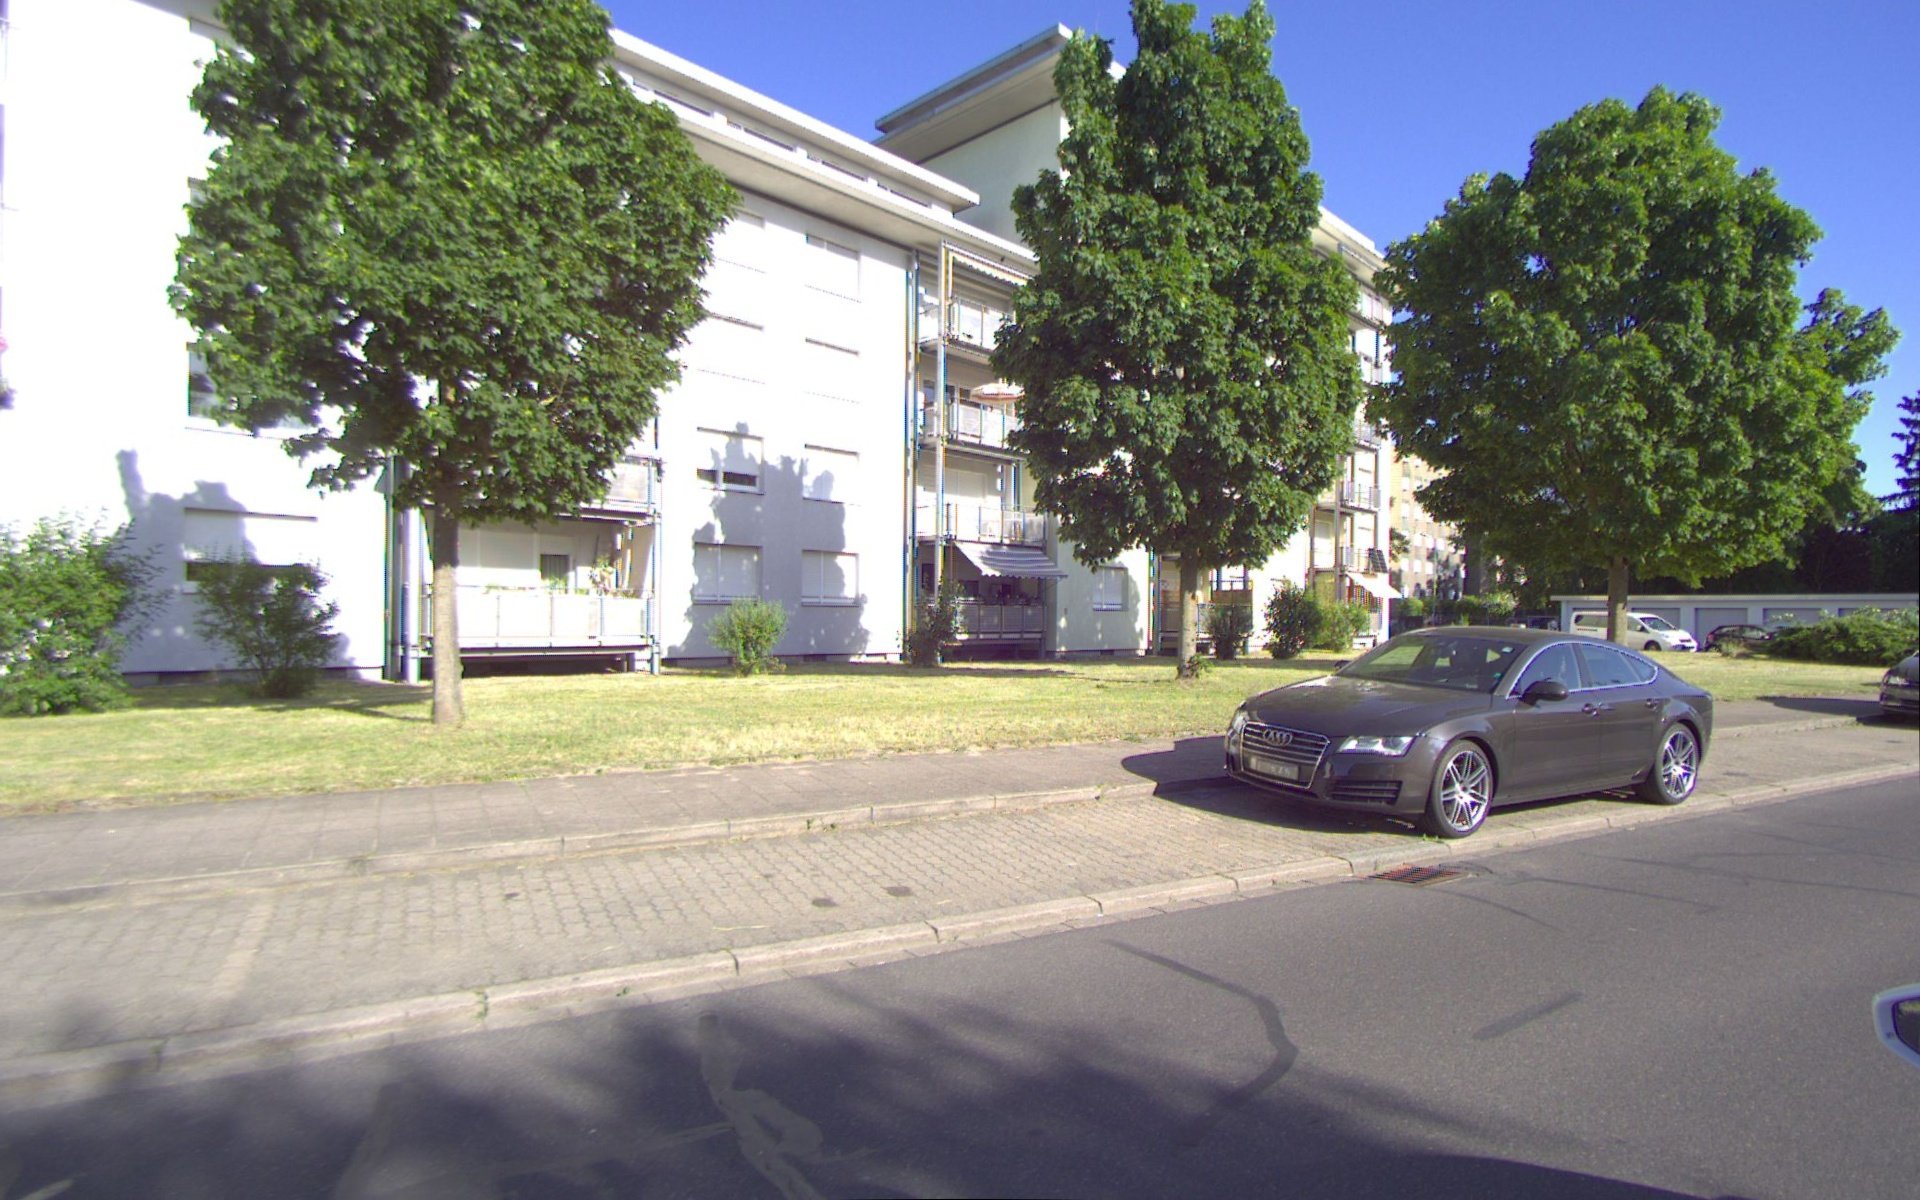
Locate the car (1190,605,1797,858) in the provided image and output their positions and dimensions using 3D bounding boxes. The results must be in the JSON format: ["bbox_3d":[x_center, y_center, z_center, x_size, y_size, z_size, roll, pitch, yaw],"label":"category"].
[{"bbox_3d":[4.600,0.850,8.447,5.193,1.513,2.025,1,2,-30],"label":"car"}]

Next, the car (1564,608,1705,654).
[{"bbox_3d":[30.931,1.395,46.268,2.204,1.977,5.098,0,-1,-21],"label":"car"}]

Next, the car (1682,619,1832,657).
[{"bbox_3d":[32.771,1.525,41.459,2.013,1.480,4.434,0,-1,-22],"label":"car"}]

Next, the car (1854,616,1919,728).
[{"bbox_3d":[15.432,1.067,14.973,4.169,1.538,1.825,1,1,-29],"label":"car"}]
